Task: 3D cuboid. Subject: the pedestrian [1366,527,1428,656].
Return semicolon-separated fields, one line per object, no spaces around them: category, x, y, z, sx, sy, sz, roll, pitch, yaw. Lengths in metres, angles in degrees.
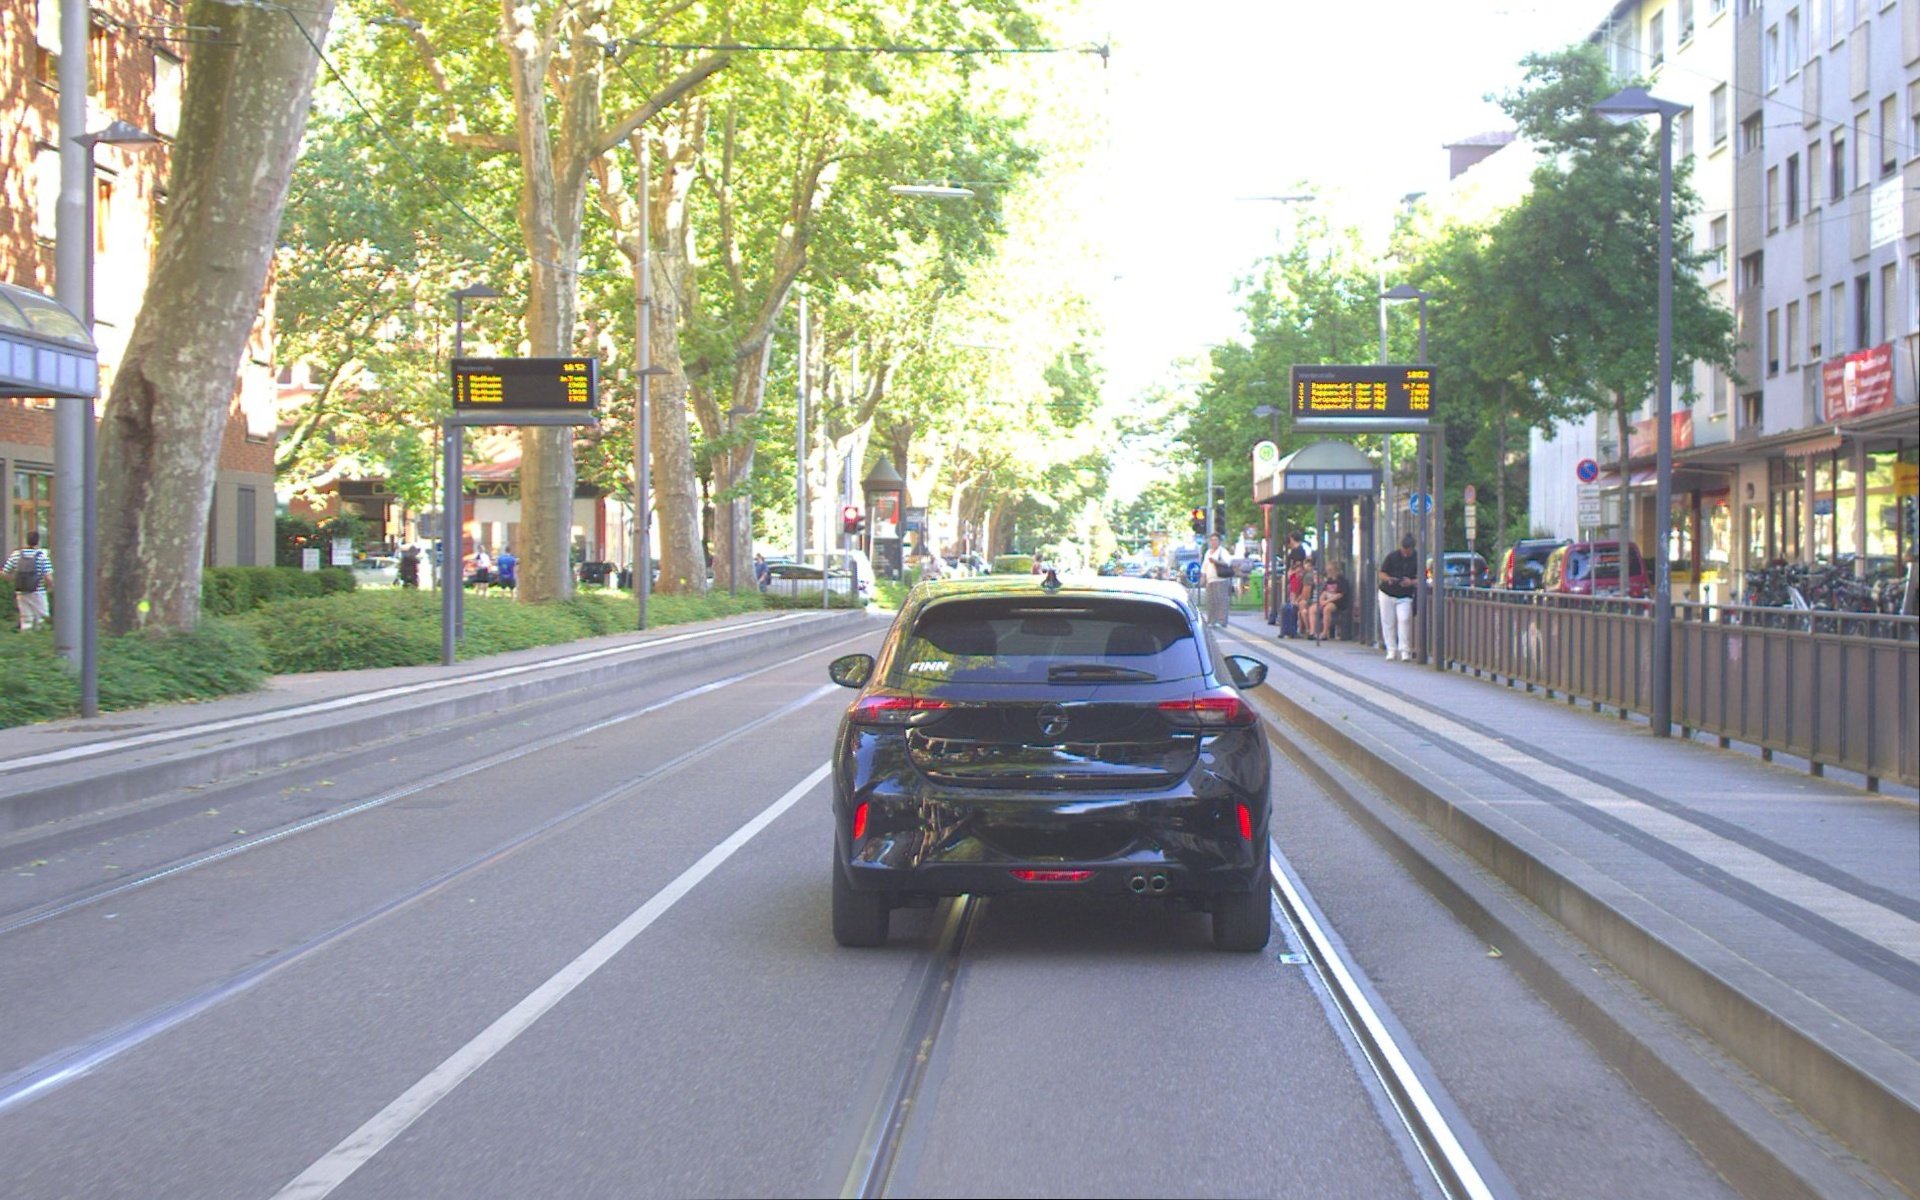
pedestrian;5.450;-0.115;42.906;0.631;1.571;0.870;3;1;2

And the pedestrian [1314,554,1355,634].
pedestrian;5.837;-0.099;53.573;0.534;1.226;0.510;1;0;-2

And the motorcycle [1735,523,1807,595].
motorcycle;14.943;-0.750;63.413;0.892;1.276;2.043;1;0;2

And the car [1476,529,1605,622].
car;11.730;-0.496;69.655;1.993;1.791;4.000;1;0;1

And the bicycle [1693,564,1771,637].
bicycle;12.364;0.002;55.098;0.597;1.132;2.204;1;0;-4

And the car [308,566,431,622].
car;-22.366;-0.238;130.354;4.250;2.007;2.000;1;0;2

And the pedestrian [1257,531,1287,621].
pedestrian;5.990;-0.453;65.976;0.531;1.703;0.752;1;0;5

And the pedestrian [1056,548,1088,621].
pedestrian;3.156;-0.440;96.843;0.676;2.007;0.701;2;1;14

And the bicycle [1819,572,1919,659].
bicycle;12.360;0.198;46.251;0.621;1.132;2.440;1;0;-9

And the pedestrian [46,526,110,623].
pedestrian;-14.886;-0.429;58.027;0.775;1.599;0.946;1;0;2

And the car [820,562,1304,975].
car;0.370;0.604;14.353;1.760;1.503;3.683;0;0;0

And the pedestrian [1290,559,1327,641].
pedestrian;5.566;-0.003;54.929;0.502;1.300;0.429;1;0;-2

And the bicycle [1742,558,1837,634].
bicycle;12.667;-0.070;52.566;0.597;1.132;2.204;1;0;-9

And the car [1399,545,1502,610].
car;11.653;-0.527;81.917;1.994;1.481;4.000;1;0;2

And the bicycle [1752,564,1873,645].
bicycle;12.397;0.056;50.089;0.611;1.132;2.922;1;0;-9

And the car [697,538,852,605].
car;-5.060;-0.771;93.544;4.113;1.695;1.884;1;0;-5

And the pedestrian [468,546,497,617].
pedestrian;-13.291;-0.527;95.667;0.672;1.943;0.498;2;1;-1

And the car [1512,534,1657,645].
car;11.430;-0.196;63.165;1.993;1.946;4.000;1;0;1

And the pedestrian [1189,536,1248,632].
pedestrian;4.661;-0.292;61.985;0.751;1.703;0.761;1;0;37

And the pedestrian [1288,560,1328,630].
pedestrian;5.488;-0.077;54.210;0.534;1.096;0.551;1;0;-2

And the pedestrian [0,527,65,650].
pedestrian;-12.808;-0.158;47.218;0.735;1.666;0.861;1;0;2

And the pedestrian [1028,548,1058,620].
pedestrian;2.336;-0.459;96.925;0.675;2.007;0.701;2;1;8

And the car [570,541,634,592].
car;-14.372;-1.339;138.270;1.994;2.007;4.000;1;0;2

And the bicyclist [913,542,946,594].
bicyclist;-0.993;-1.041;112.251;0.941;1.697;1.152;1;0;5

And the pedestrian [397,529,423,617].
pedestrian;-12.298;-0.601;76.860;0.496;1.943;0.674;1;0;-5

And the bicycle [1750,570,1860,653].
bicycle;11.961;0.155;48.734;0.602;1.132;2.435;1;0;-9

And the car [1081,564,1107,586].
car;9.786;-1.846;251.632;1.745;1.539;4.000;1;0;0

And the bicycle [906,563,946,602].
bicycle;-1.089;-0.567;111.345;0.955;1.236;2.977;1;0;5

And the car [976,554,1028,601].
car;1.465;-0.779;119.552;1.745;1.539;4.000;1;0;0

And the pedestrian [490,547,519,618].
pedestrian;-12.554;-0.481;94.840;0.672;1.943;0.498;2;1;-1

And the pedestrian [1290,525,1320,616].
pedestrian;6.710;-0.576;66.806;0.531;1.757;0.661;1;0;5

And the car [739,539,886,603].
car;-4.528;-0.895;105.087;4.384;1.845;2.000;1;0;-5
